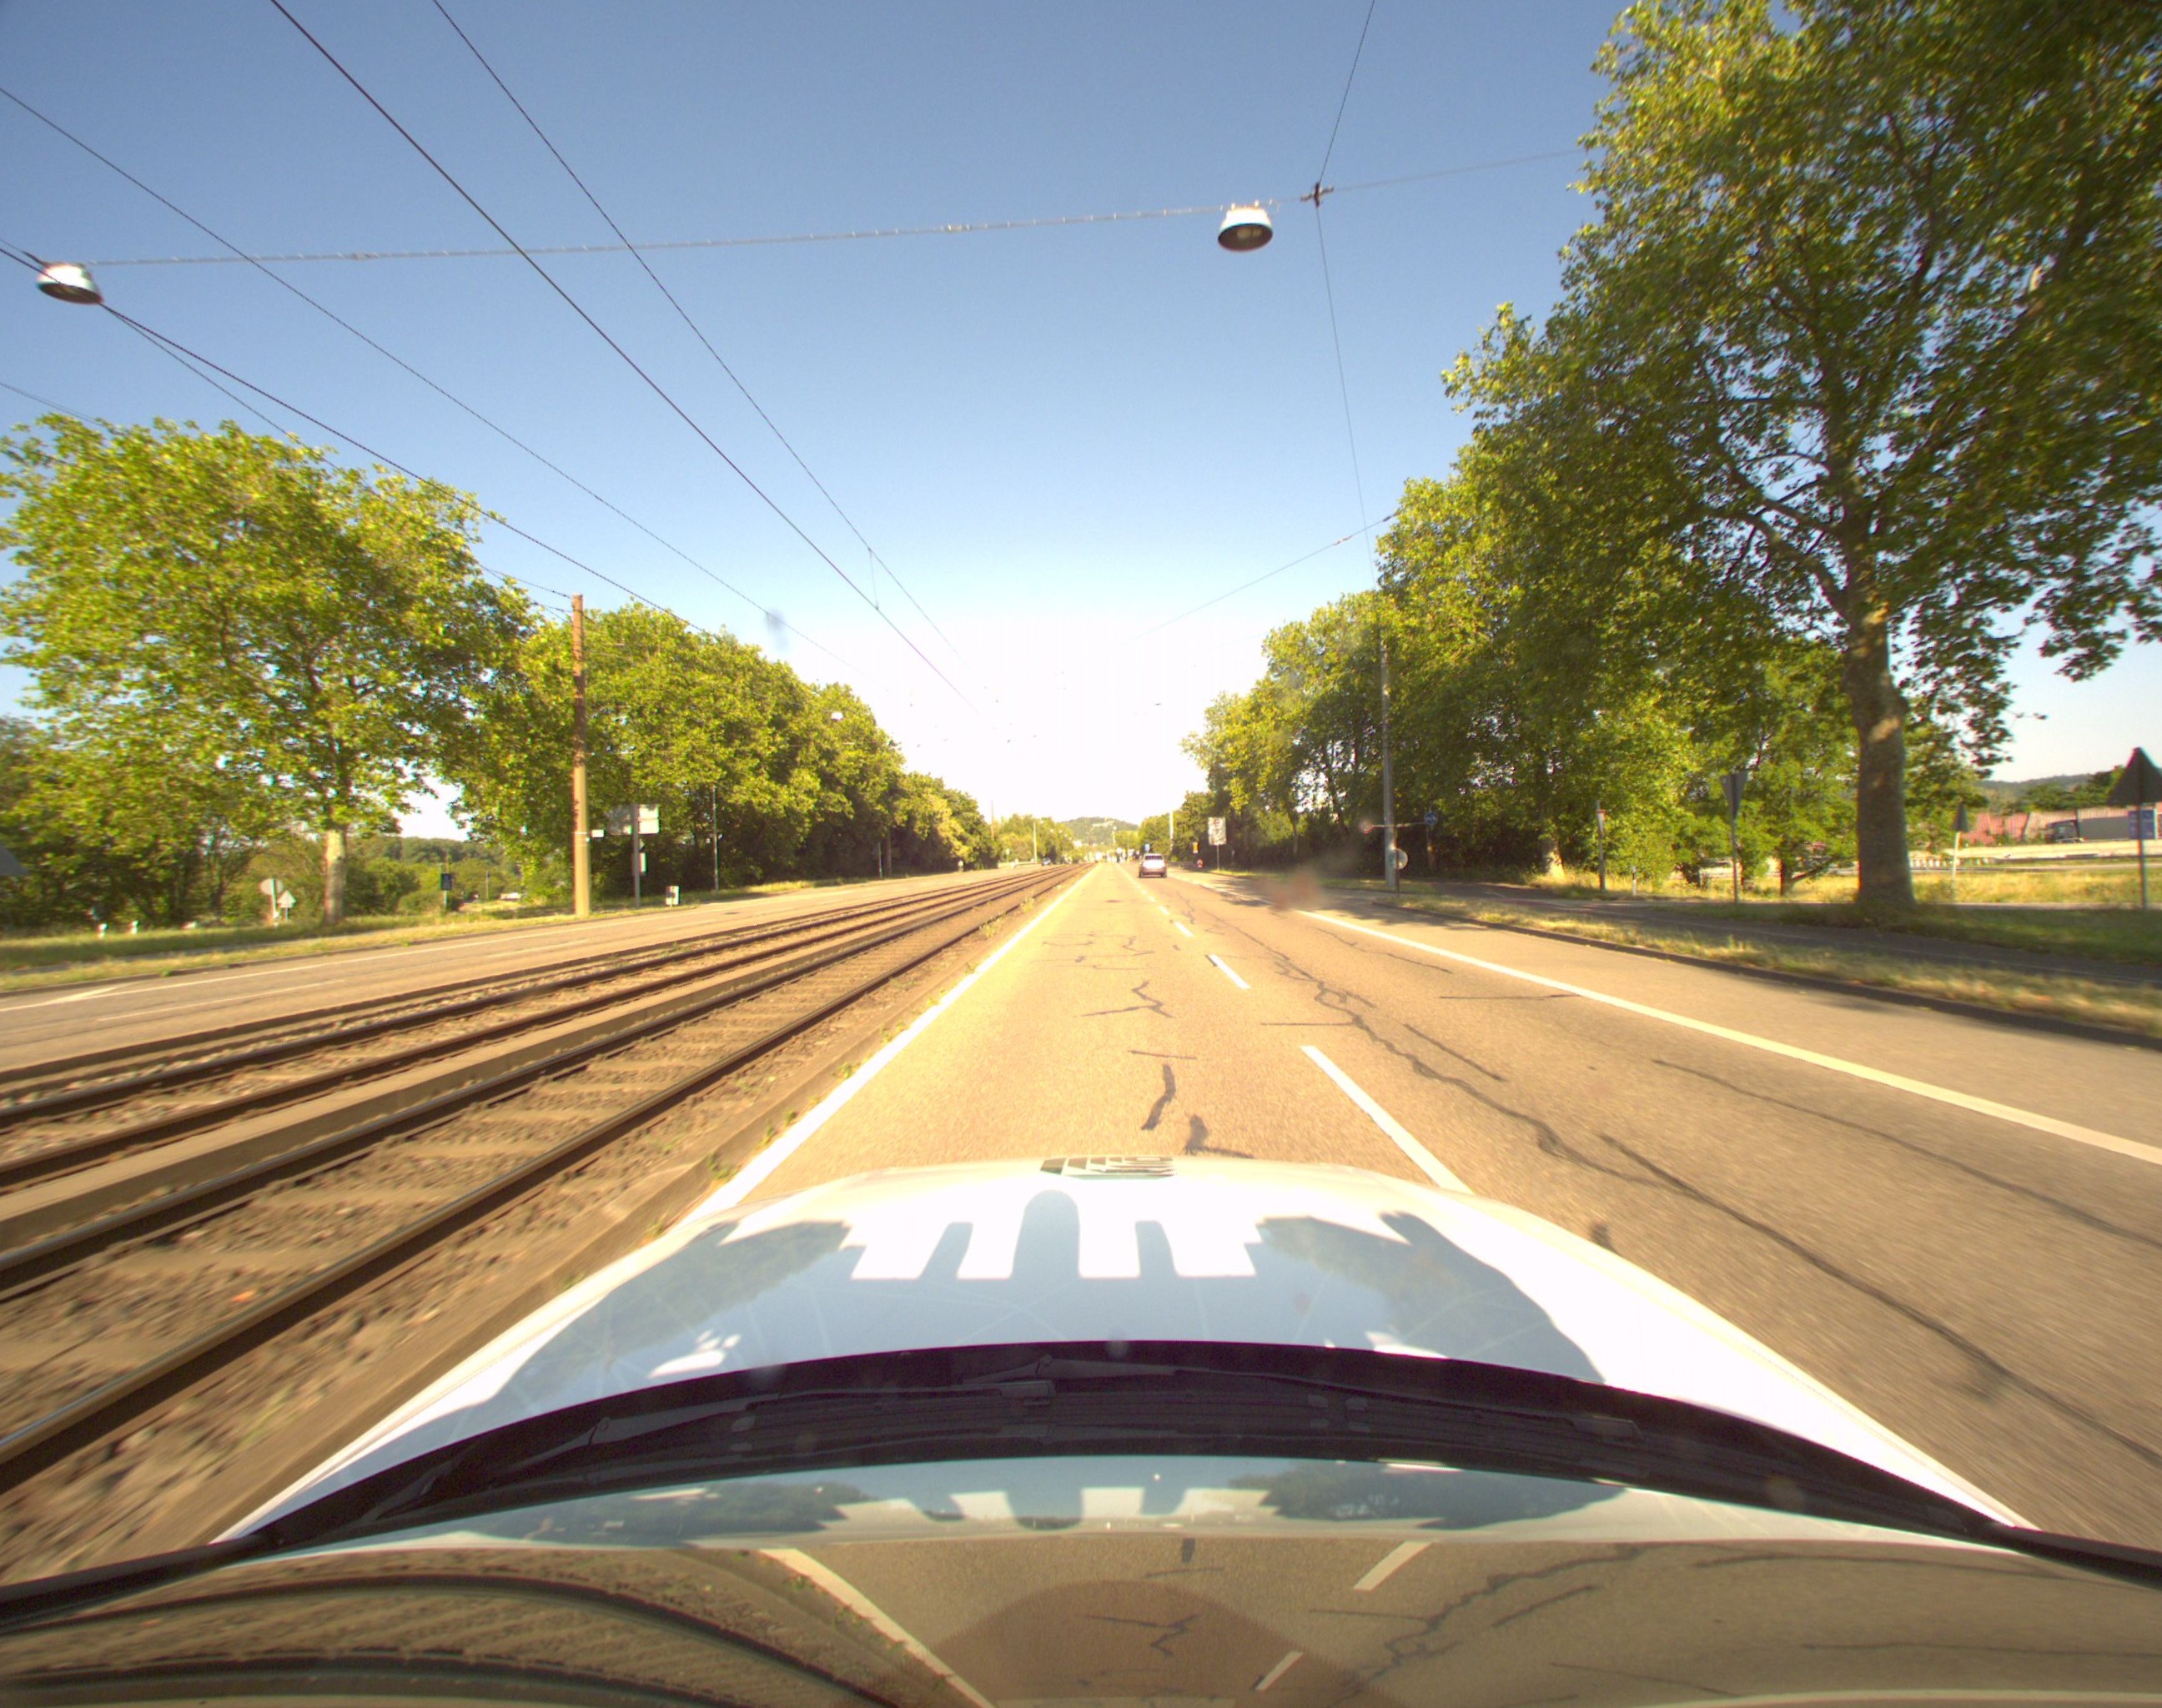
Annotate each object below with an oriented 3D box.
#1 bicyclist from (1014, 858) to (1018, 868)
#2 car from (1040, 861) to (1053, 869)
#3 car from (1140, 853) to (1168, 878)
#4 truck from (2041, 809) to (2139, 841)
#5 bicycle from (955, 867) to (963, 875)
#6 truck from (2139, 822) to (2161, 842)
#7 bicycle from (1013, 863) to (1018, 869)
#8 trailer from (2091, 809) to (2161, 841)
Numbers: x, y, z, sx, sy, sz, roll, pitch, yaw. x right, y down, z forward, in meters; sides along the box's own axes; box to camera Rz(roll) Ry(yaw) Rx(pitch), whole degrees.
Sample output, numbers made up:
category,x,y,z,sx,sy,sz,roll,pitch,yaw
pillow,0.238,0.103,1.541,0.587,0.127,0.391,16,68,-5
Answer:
category,x,y,z,sx,sy,sz,roll,pitch,yaw
bicyclist,-11.047,1.528,137.972,0.505,1.687,0.920,0,-1,5
car,-7.345,2.347,173.059,1.984,1.685,4.802,-3,-1,5
car,5.155,0.790,58.052,1.880,1.693,4.261,-1,-1,4
truck,129.583,-3.669,104.700,7.246,3.840,3.153,0,-1,32
bicycle,-15.837,2.208,105.730,0.548,0.986,2.241,0,-1,3
truck,138.424,-2.804,102.684,5.760,2.431,2.012,0,-1,32
bicycle,-11.036,2.011,138.063,0.505,0.892,2.030,0,-1,5
trailer,135.227,-3.645,101.139,11.911,3.839,3.153,0,-1,32
